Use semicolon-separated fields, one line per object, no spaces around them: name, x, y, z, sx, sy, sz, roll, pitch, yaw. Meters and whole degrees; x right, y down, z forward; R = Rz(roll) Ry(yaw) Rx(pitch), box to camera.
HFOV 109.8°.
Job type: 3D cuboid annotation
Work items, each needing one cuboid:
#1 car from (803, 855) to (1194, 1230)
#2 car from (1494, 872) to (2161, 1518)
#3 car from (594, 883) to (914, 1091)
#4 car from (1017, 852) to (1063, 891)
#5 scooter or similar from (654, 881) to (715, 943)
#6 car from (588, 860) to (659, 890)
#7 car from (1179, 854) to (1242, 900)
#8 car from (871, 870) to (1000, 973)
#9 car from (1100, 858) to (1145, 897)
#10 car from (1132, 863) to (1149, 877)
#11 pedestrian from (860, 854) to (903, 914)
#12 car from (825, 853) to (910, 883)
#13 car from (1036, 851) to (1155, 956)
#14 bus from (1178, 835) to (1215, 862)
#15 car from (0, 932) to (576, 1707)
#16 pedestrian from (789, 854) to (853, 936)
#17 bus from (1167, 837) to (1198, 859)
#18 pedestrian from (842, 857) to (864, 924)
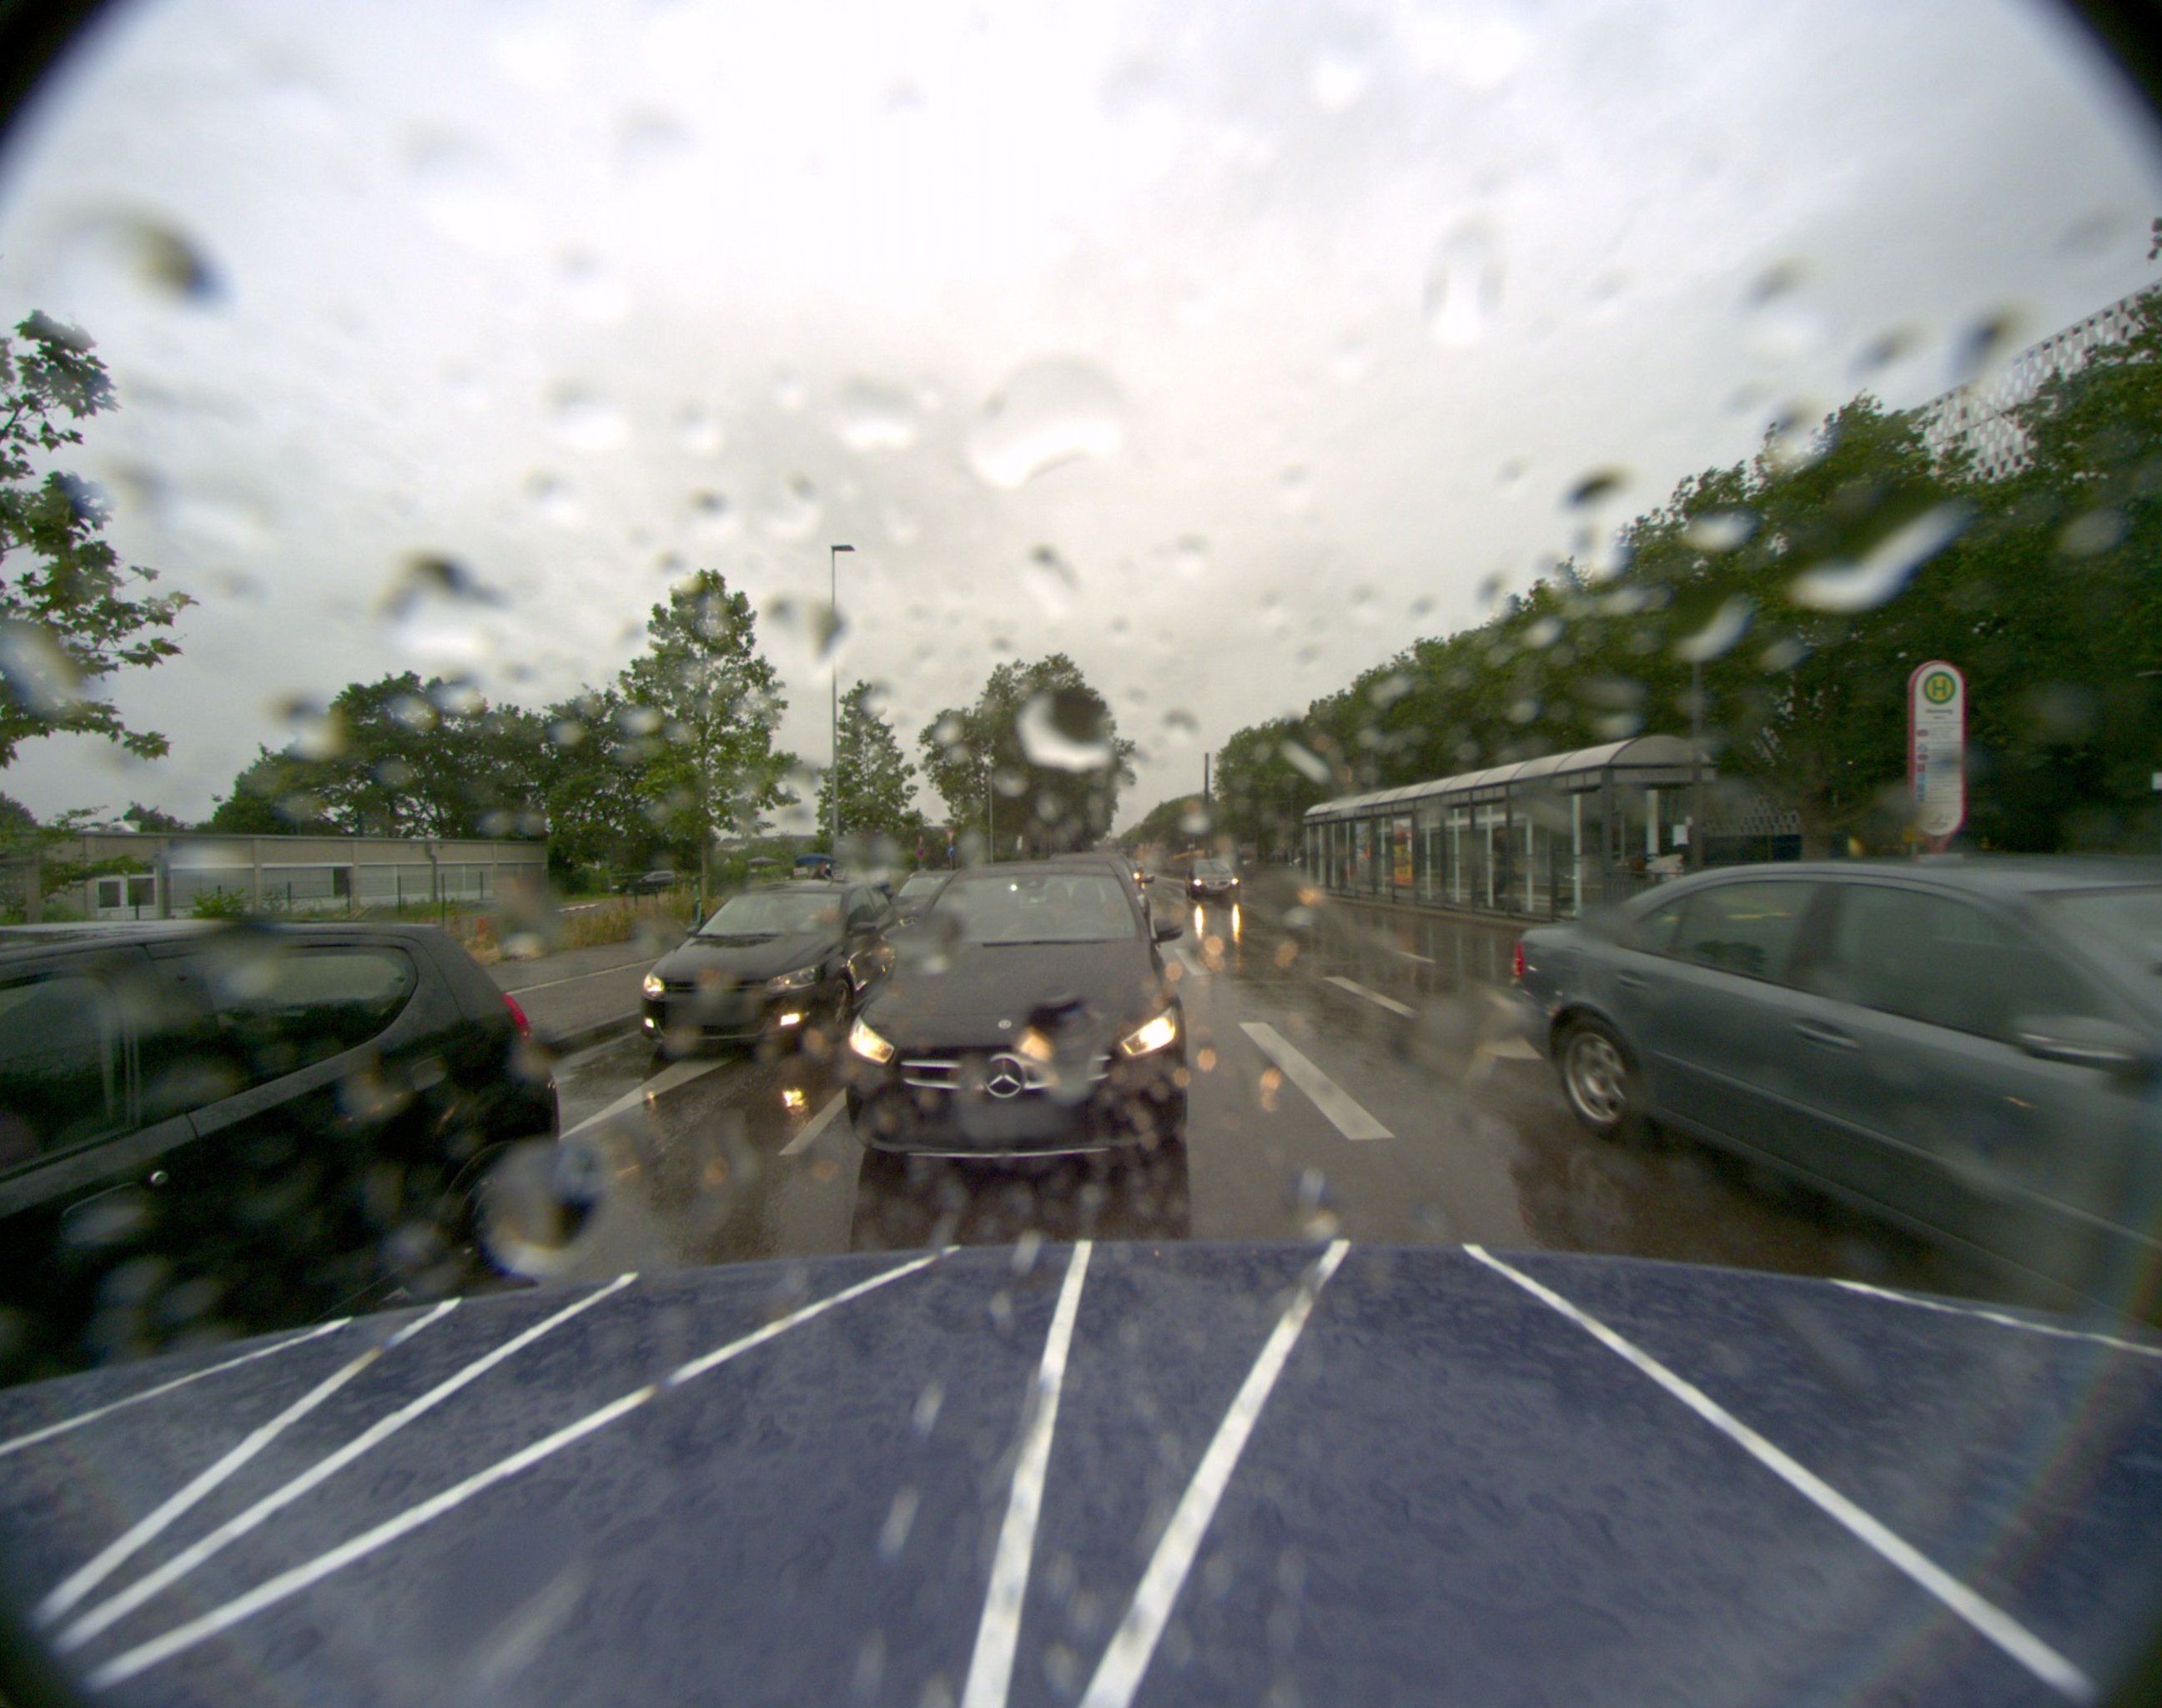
car;-0.340;0.852;5.483;1.690;1.578;4.163;-2;1;1
car;3.449;0.858;2.388;1.767;1.390;4.644;-2;0;0
car;-2.930;1.103;7.700;1.633;1.420;3.624;-2;0;0
car;-1.679;0.682;32.224;1.703;1.461;4.121;-2;1;0
scooter or similar;-8.215;1.174;15.816;0.381;1.123;1.777;0;1;-1
car;-33.967;1.516;56.527;3.996;2.002;2.000;-2;1;2
car;4.873;0.810;29.197;1.775;1.492;4.597;-2;1;2
car;-2.695;1.200;14.914;1.698;1.565;3.813;-2;1;1
car;1.836;1.032;34.951;1.794;1.597;3.999;-2;1;0
car;7.849;2.104;100.180;1.794;1.597;3.999;-2;1;0
pedestrian;-5.861;0.864;22.341;1.025;1.698;0.891;1;1;0
car;-13.477;0.885;48.137;4.759;1.640;1.999;-2;1;-2
car;0.199;0.712;12.548;1.633;1.420;3.624;-2;0;0
bus;16.014;-0.789;106.506;2.938;3.310;15.061;-2;1;1
car;-3.014;1.070;1.454;1.633;1.420;3.624;-2;0;0
pedestrian;-5.716;0.883;16.779;1.082;1.746;0.969;0;1;0
bus;16.176;-0.991;121.704;2.938;3.310;15.061;-2;1;0
pedestrian;-5.730;0.906;19.095;0.401;1.652;0.441;1;1;0
